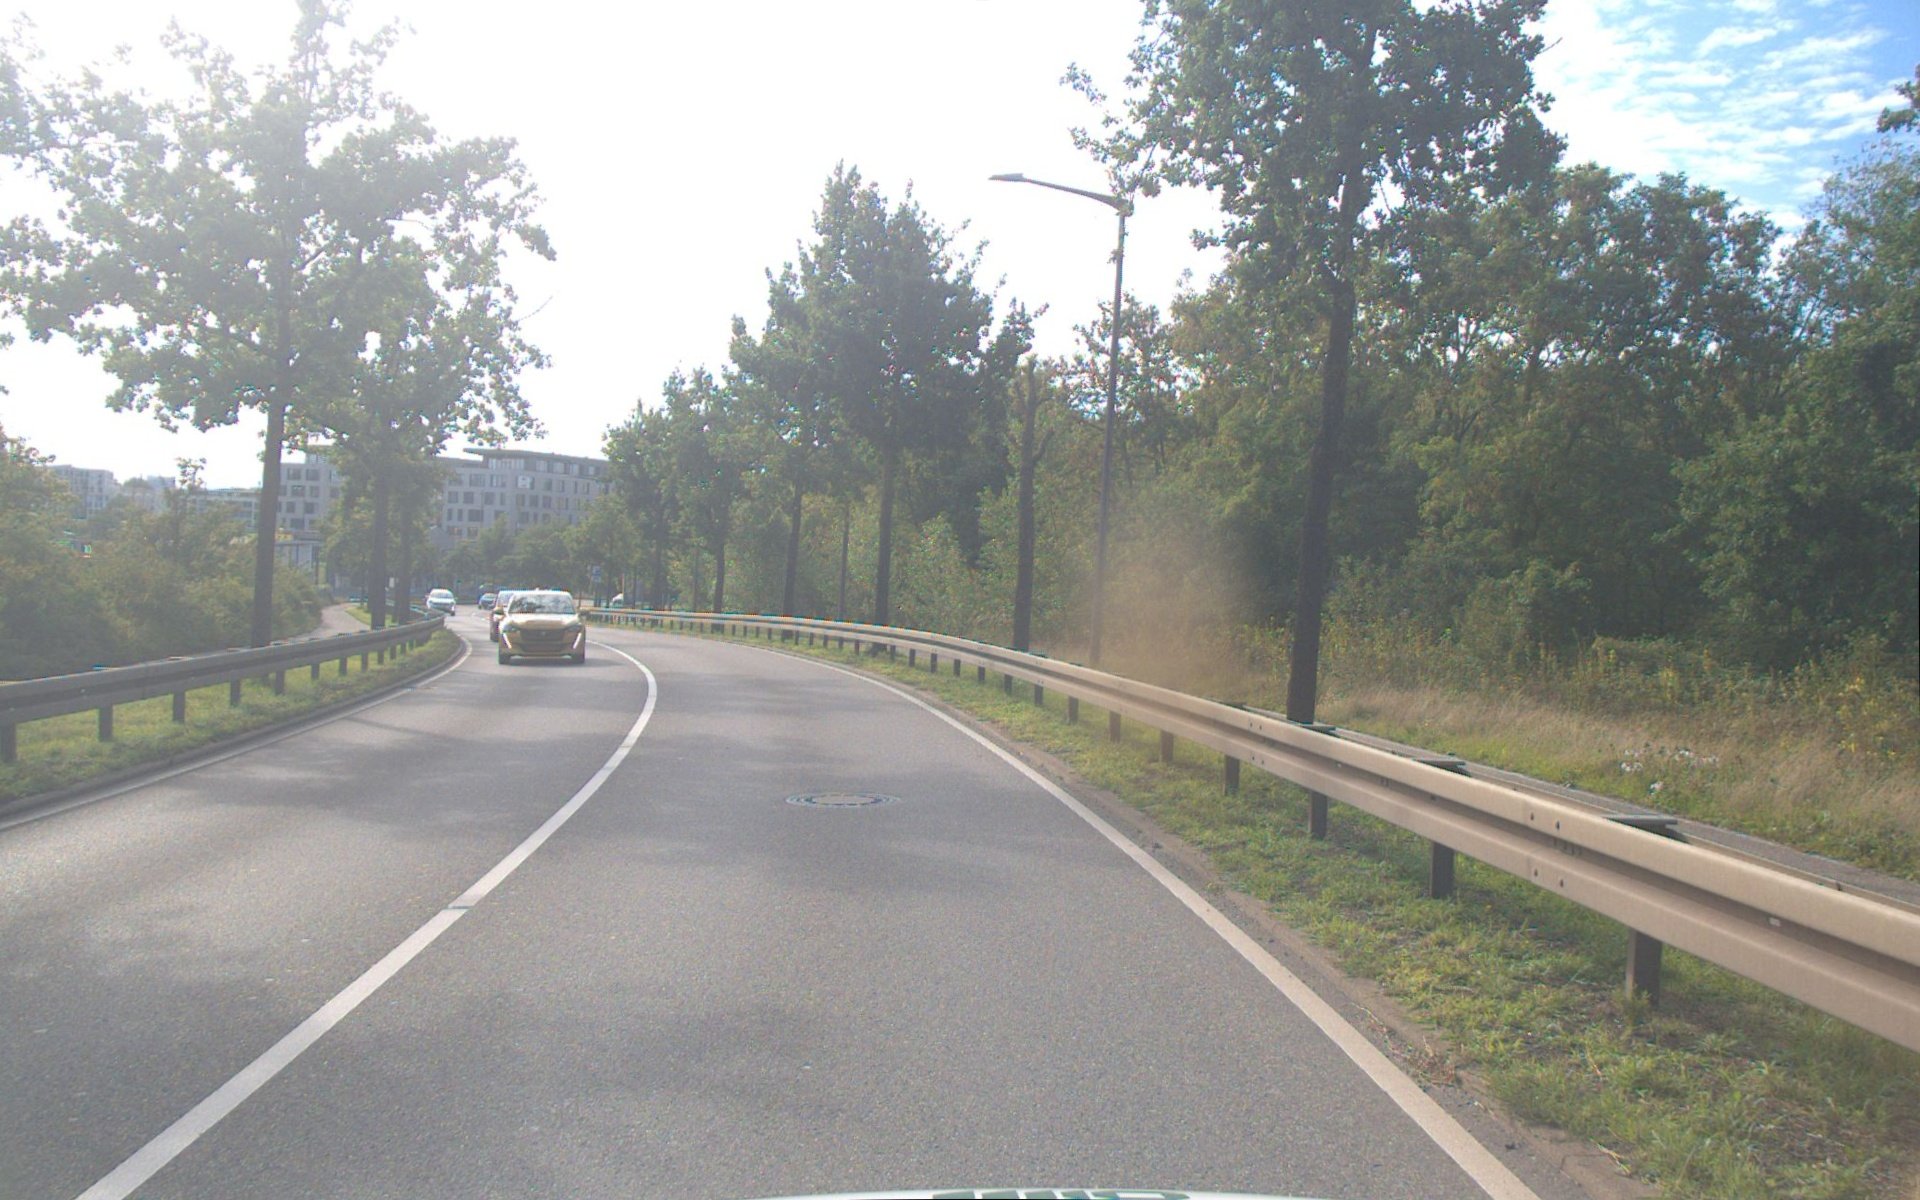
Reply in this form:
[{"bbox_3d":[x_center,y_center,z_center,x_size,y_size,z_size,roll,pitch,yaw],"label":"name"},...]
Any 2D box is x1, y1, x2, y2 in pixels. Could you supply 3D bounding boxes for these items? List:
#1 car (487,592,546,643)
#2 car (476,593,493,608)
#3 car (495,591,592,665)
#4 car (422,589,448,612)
[{"bbox_3d":[-13.298,0.503,49.483,1.543,1.450,3.572,0,0,-18],"label":"car"},{"bbox_3d":[-46.329,0.055,161.176,1.543,1.450,3.573,0,0,-18],"label":"car"},{"bbox_3d":[-8.563,0.540,34.268,1.768,1.450,3.861,0,0,-12],"label":"car"},{"bbox_3d":[-33.638,0.041,106.048,1.543,1.450,3.573,1,0,-18],"label":"car"}]
